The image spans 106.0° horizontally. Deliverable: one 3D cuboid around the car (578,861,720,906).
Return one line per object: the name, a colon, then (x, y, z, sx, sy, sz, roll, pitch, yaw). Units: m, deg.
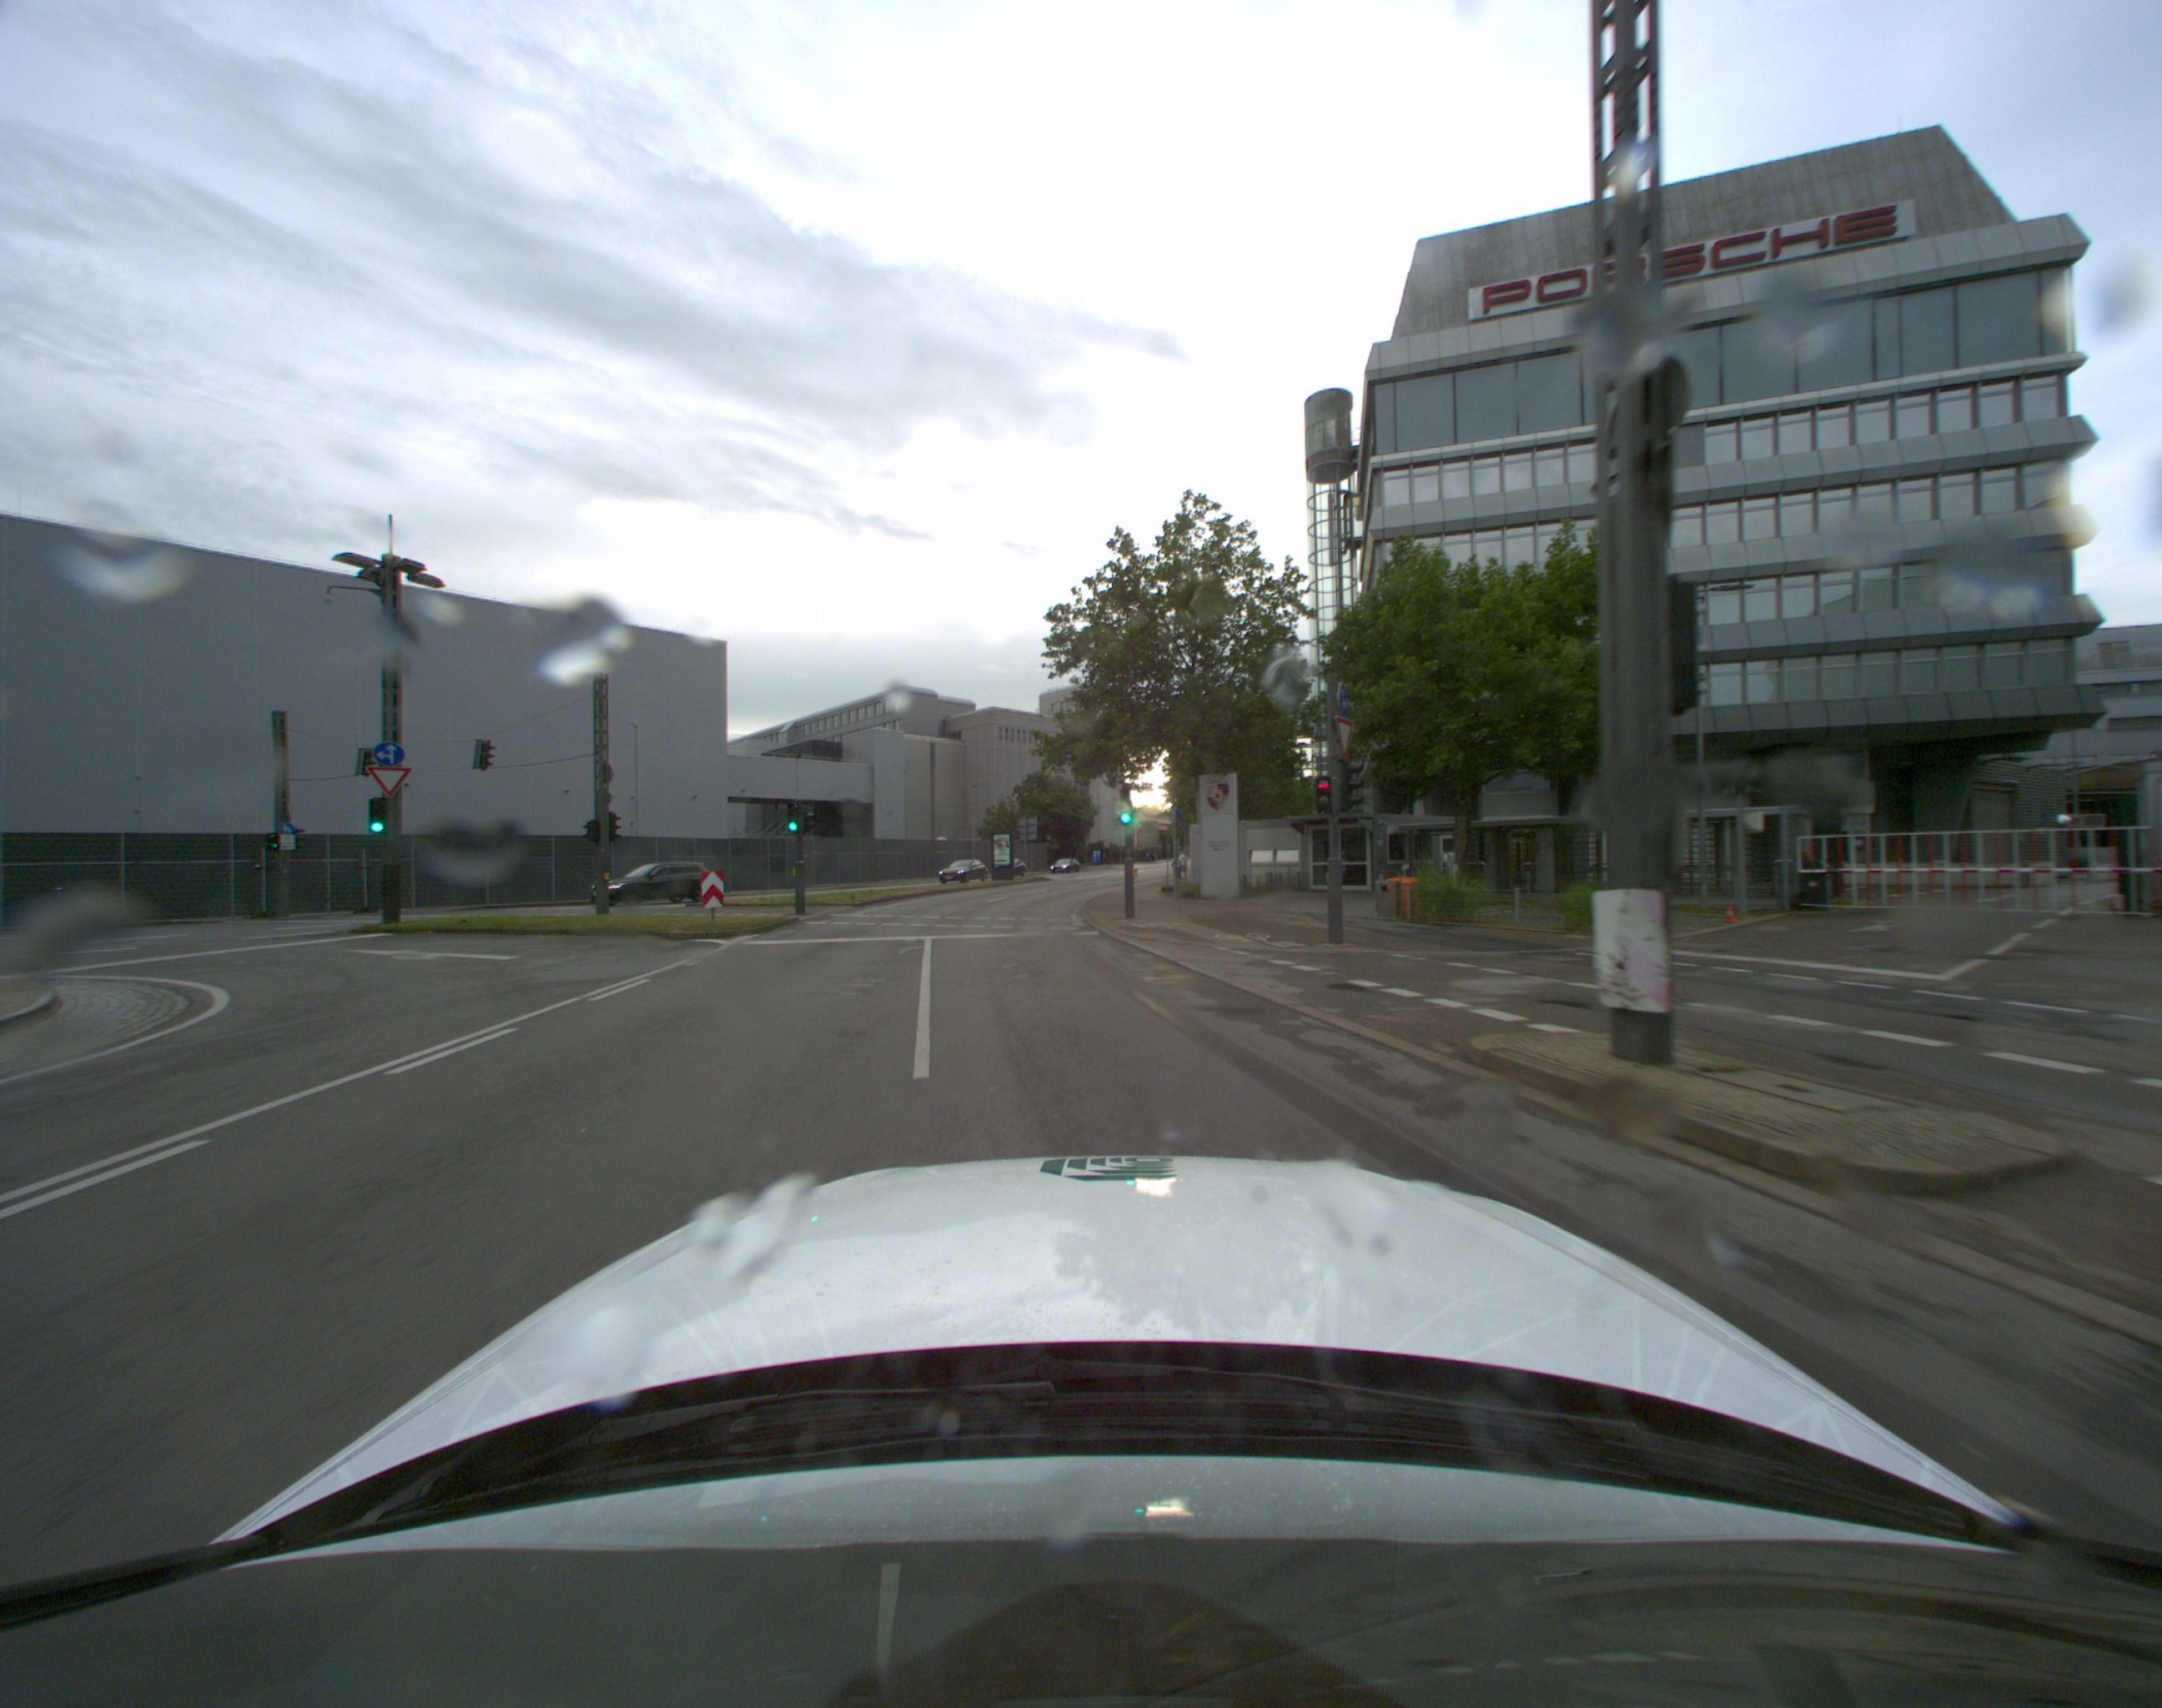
car: (-16.680, 1.090, 31.697, 1.765, 1.588, 4.595, -1, 0, 31)

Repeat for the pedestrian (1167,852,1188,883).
pedestrian: (4.811, 0.649, 40.708, 0.824, 1.520, 0.846, -1, -1, 20)

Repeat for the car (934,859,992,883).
car: (-7.464, 1.044, 51.959, 1.768, 1.440, 4.417, -1, 0, 19)

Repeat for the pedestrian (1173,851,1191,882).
pedestrian: (5.308, 0.667, 42.682, 0.703, 1.592, 0.845, -1, -1, 21)

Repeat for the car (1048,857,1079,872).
car: (-1.686, 1.043, 81.184, 1.769, 1.385, 4.565, -3, -1, 16)

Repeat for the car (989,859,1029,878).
car: (-6.002, 1.201, 68.362, 1.769, 1.454, 4.580, -2, -1, 16)

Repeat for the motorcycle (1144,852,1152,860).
motorcycle: (12.345, 0.348, 150.155, 0.952, 1.556, 3.312, -1, 0, 14)
